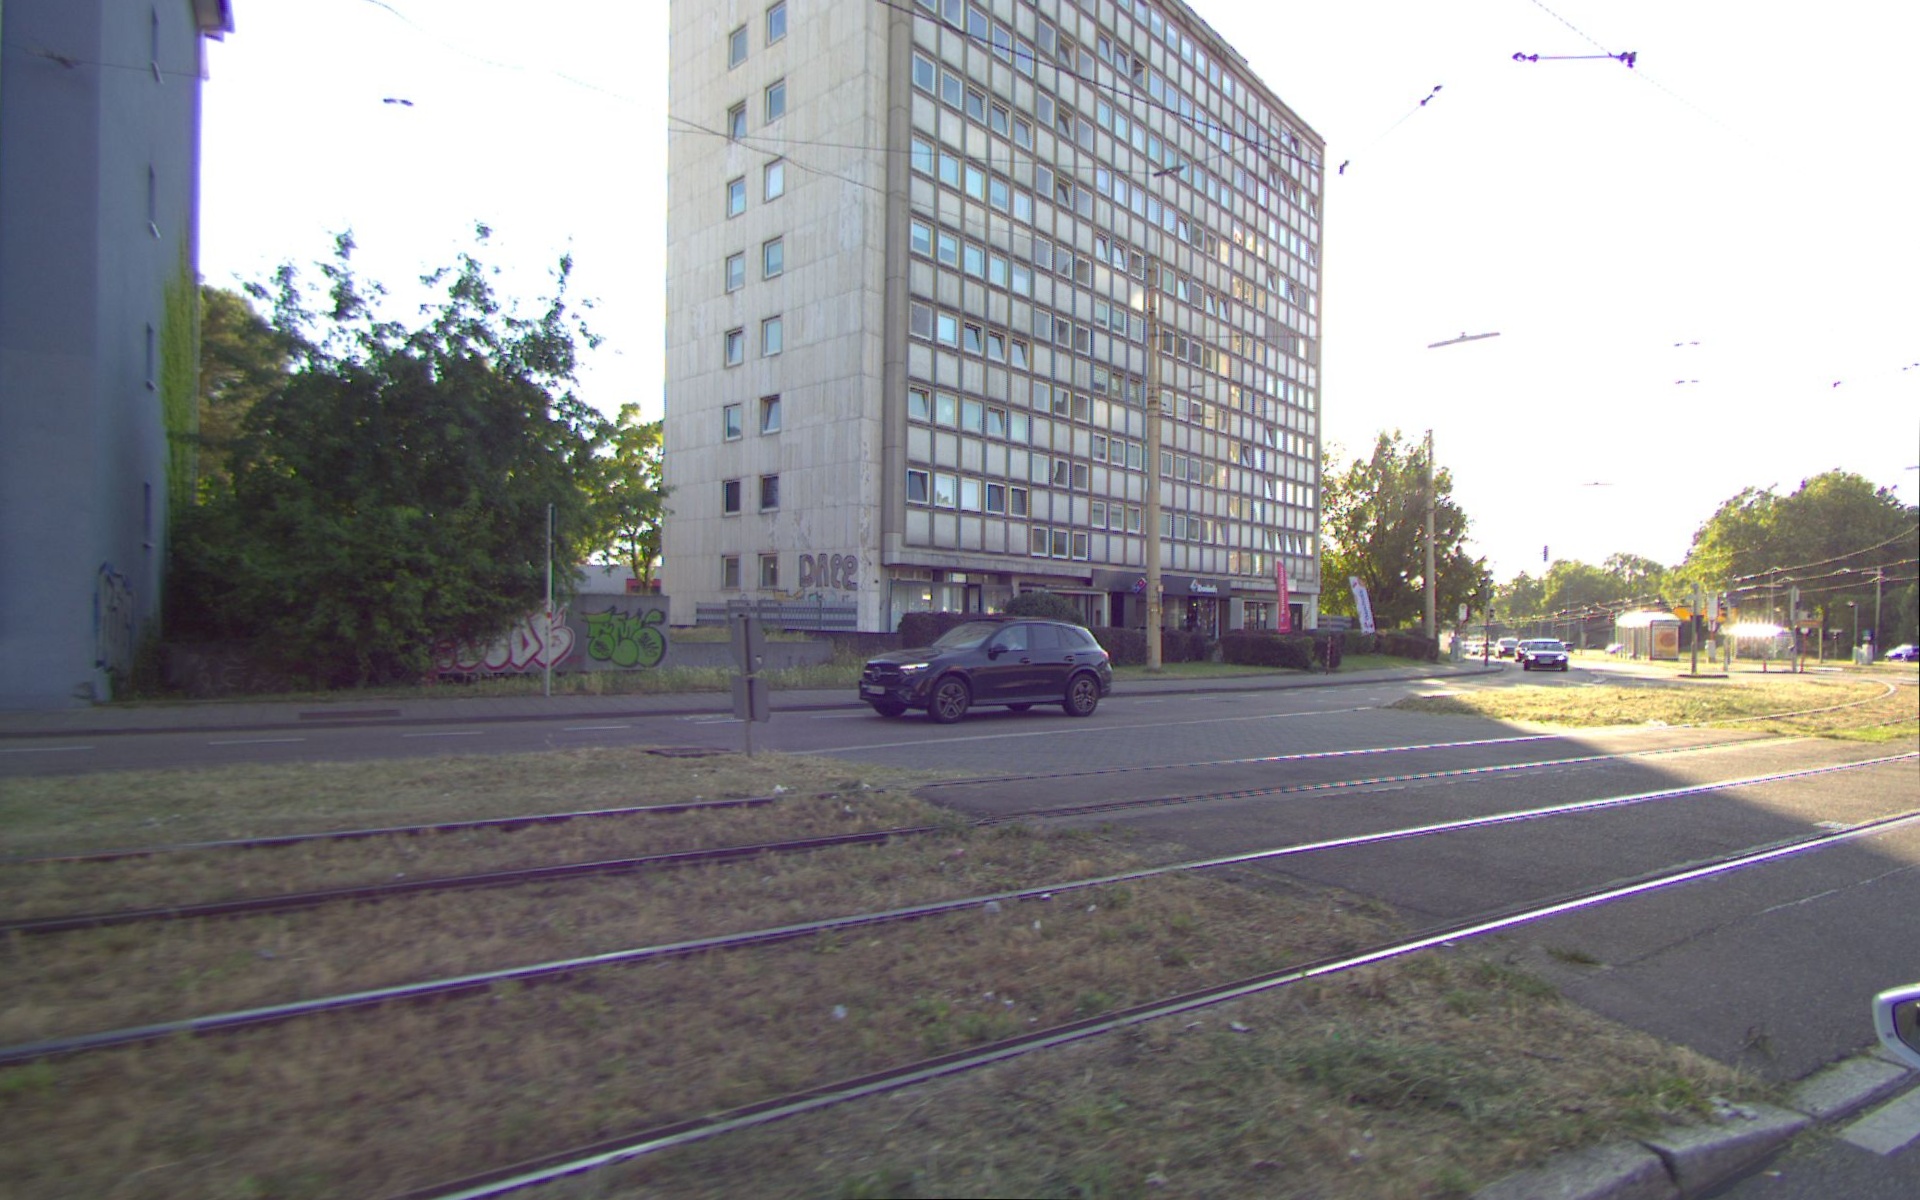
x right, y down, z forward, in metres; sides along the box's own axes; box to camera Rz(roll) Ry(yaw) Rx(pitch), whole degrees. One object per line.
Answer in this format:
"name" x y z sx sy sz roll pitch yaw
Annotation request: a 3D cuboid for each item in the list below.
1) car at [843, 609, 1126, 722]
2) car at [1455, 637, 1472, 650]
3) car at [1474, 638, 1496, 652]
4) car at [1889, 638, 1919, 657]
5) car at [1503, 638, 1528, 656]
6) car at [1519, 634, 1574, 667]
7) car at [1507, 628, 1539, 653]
"car" 0.512 1.048 17.115 4.664 1.684 1.905 1 -2 -36
"car" 60.992 5.256 121.650 1.664 1.550 3.699 1 -1 25
"car" 52.837 4.511 101.125 1.773 1.385 3.962 0 -2 26
"car" 76.327 3.798 80.532 1.745 1.441 3.851 0 -2 28
"car" 45.663 3.826 82.596 1.521 1.357 3.592 1 -1 24
"car" 27.751 2.377 47.471 1.753 1.501 4.384 -3 -4 36
"car" 38.152 2.728 68.162 1.626 1.617 4.582 1 -2 26
